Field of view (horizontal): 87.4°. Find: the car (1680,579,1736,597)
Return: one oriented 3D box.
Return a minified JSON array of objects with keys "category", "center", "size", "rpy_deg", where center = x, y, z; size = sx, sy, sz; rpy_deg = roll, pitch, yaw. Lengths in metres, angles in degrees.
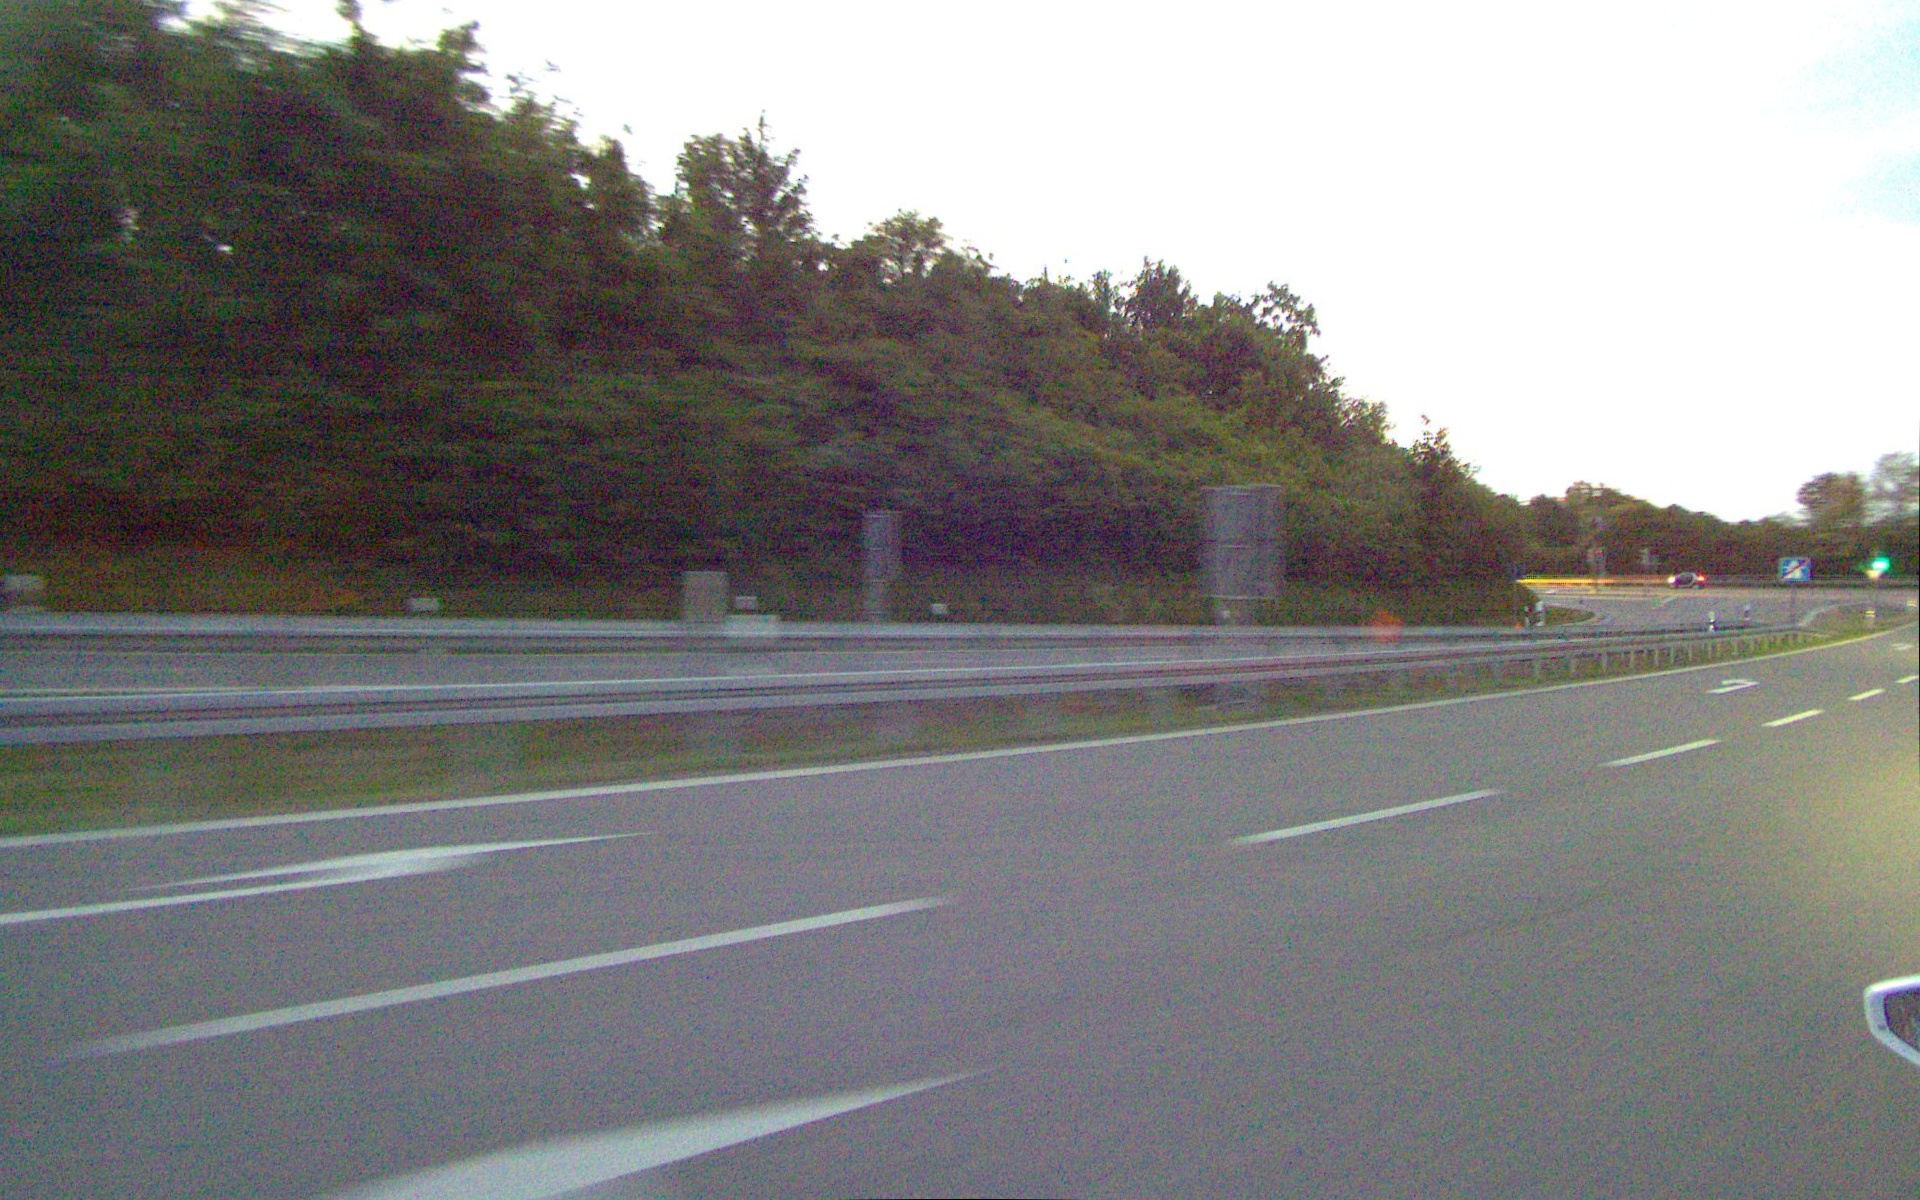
[{"category":"car","center":[67.551,-1.062,90.829],"size":[3.934,1.473,1.993],"rpy_deg":[3,3,36]}]
